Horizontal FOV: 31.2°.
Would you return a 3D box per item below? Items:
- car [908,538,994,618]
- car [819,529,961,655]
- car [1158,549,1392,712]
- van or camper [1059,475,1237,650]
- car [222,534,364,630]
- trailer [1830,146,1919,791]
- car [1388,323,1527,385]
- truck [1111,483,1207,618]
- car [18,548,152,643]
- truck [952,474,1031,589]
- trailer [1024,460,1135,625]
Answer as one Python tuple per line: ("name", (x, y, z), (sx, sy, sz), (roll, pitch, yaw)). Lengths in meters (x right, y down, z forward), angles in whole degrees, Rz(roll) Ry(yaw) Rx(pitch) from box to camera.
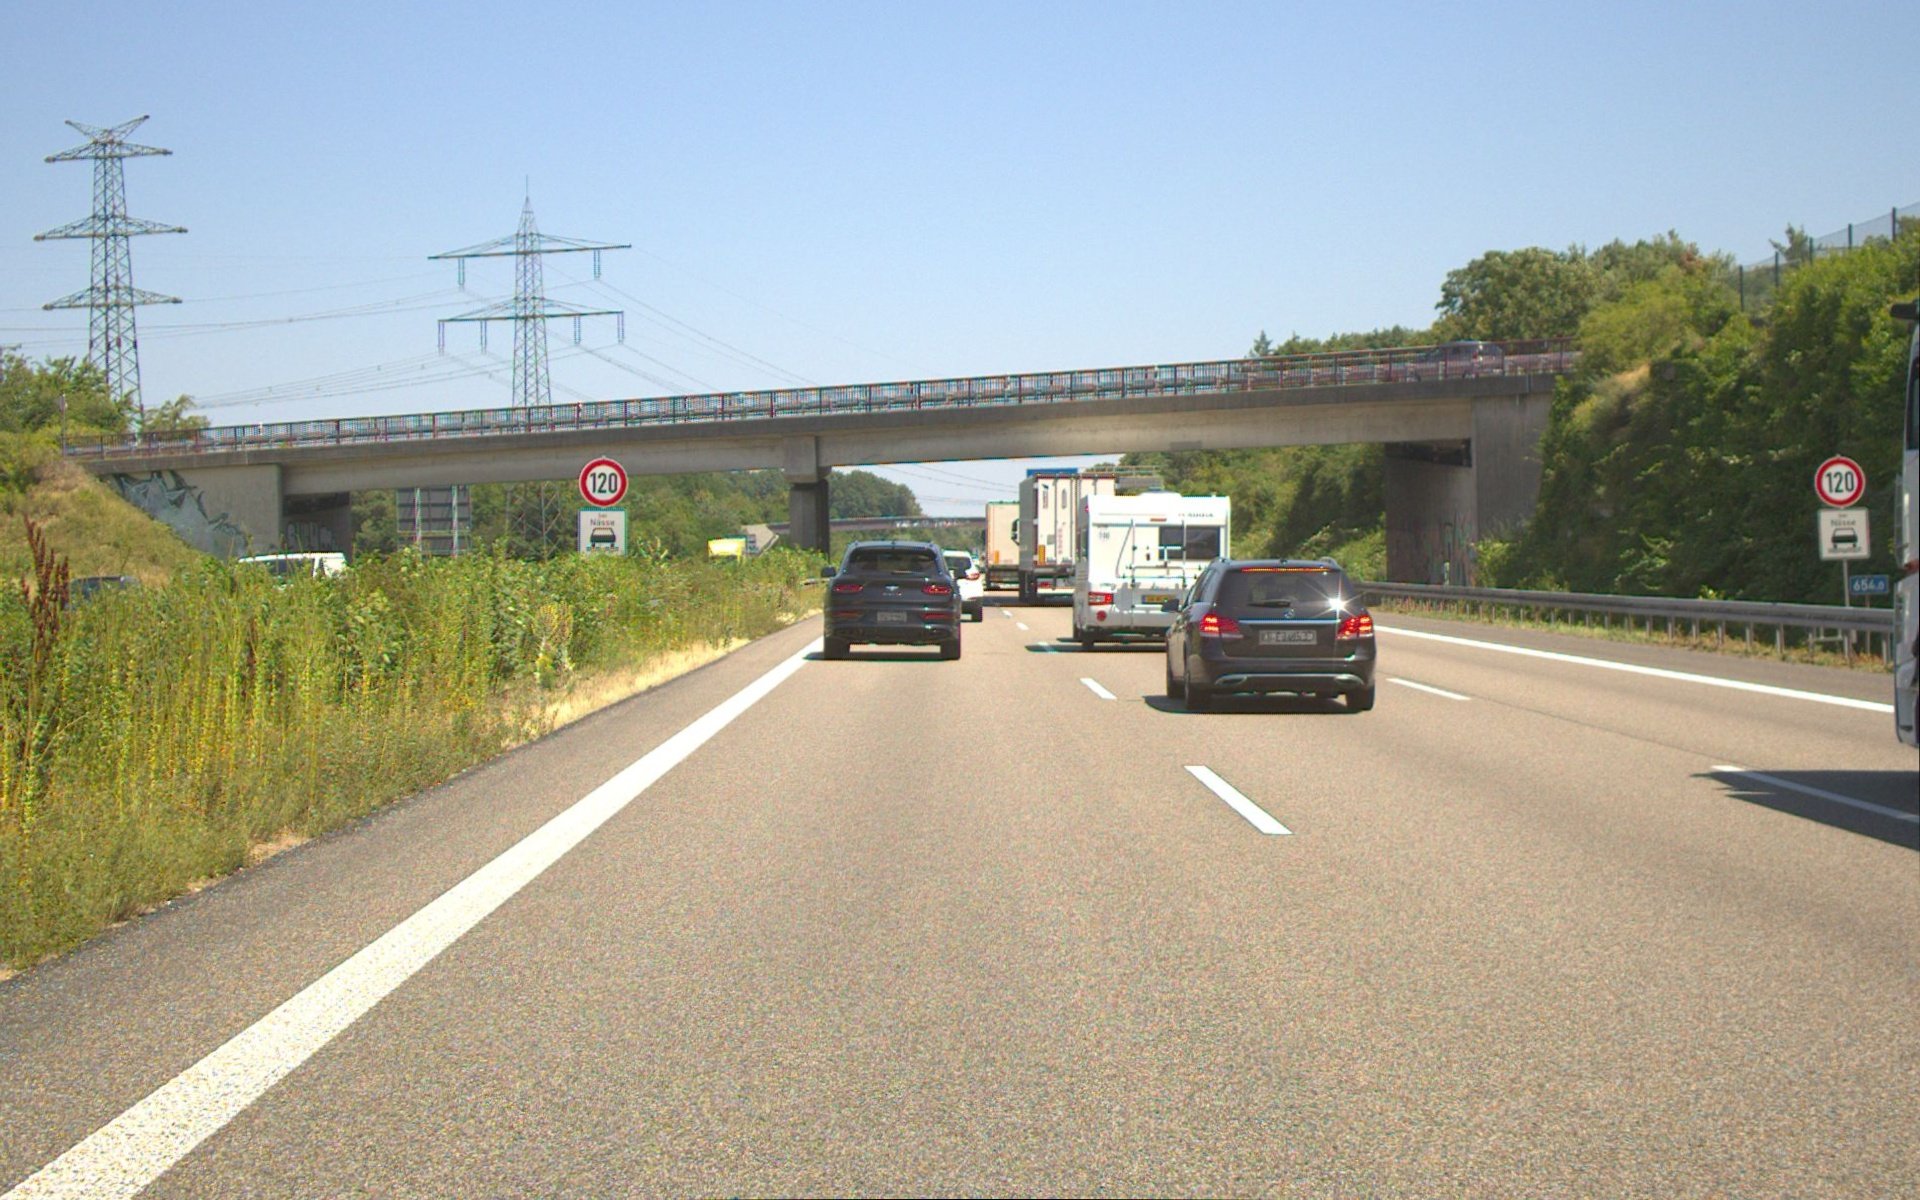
("car", (-0.236, -0.550, 81.131), (1.961, 1.808, 4.449), (-1, 1, -1))
("car", (-1.024, -0.148, 50.701), (1.993, 1.766, 4.000), (-1, 1, -1))
("car", (3.100, 0.253, 34.685), (1.841, 1.500, 4.738), (-1, 1, -1))
("van or camper", (3.001, -0.631, 56.314), (2.439, 2.665, 6.350), (-1, 1, -1))
("car", (-14.268, -0.425, 73.828), (1.997, 1.980, 5.839), (0, 1, -1))
("trailer", (7.463, -0.819, 20.545), (2.713, 4.088, 6.789), (0, 1, -1))
("car", (16.202, -8.000, 112.063), (3.994, 1.645, 1.996), (-2, -1, 32))
("truck", (7.470, -1.853, 129.928), (3.087, 4.868, 8.798), (1, 0, 0))
("car", (-18.776, -0.122, 73.911), (1.896, 1.971, 3.987), (0, 1, -1))
("truck", (1.430, -3.144, 159.074), (3.512, 5.149, 10.258), (0, 1, 0))
("trailer", (3.682, -1.763, 108.994), (3.087, 4.868, 12.258), (1, 0, 0))
